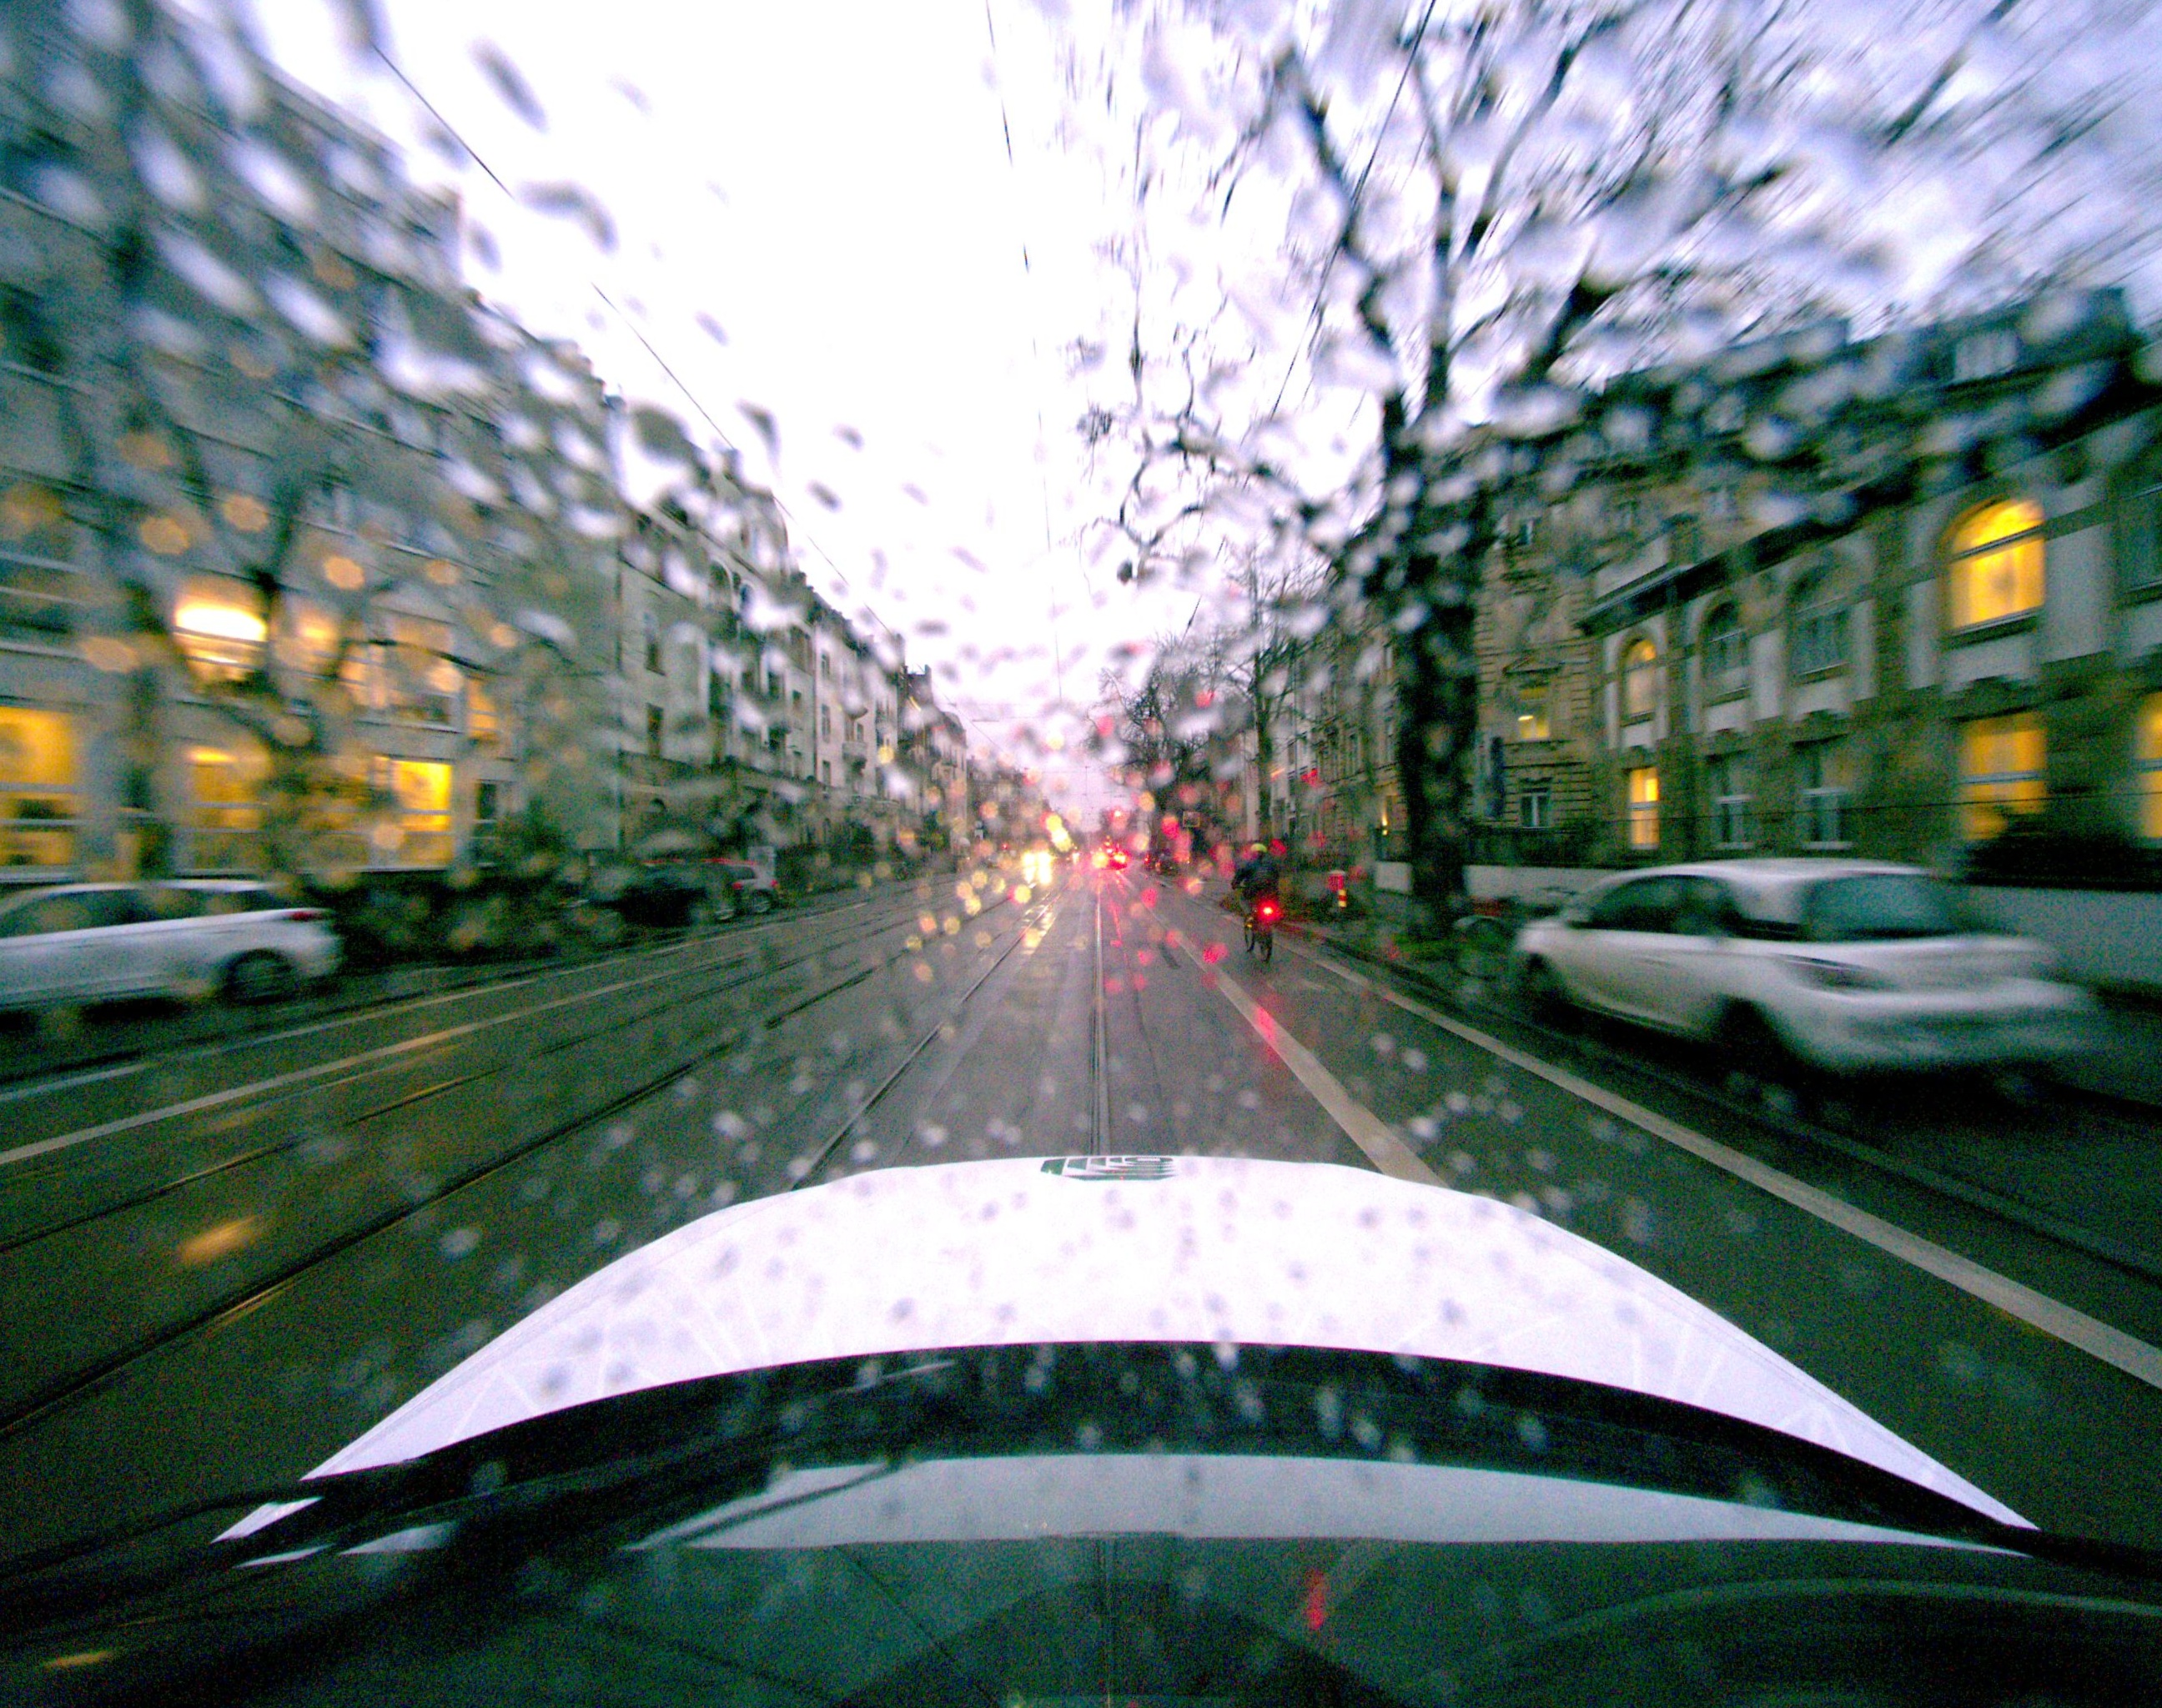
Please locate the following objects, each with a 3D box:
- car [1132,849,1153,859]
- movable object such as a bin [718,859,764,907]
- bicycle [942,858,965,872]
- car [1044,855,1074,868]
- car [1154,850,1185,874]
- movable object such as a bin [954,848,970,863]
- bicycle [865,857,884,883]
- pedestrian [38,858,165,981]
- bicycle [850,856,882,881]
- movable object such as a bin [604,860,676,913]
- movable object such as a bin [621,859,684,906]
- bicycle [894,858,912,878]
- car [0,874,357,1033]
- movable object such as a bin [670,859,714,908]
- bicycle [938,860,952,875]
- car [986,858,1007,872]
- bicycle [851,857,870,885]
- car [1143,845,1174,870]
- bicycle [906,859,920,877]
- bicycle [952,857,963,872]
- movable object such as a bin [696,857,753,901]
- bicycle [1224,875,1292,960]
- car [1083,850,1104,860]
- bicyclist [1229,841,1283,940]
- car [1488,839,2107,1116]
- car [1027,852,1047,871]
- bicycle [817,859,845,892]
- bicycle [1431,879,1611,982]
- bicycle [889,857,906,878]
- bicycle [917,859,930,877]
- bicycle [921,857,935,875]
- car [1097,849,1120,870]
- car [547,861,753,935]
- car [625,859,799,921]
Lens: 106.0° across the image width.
[{"bbox_3d":[12.120,-0.013,161.015,3.962,1.716,1.909,-1,1,10],"label":"car"},{"bbox_3d":[-10.792,0.902,25.917,1.268,1.450,1.104,-2,1,-21],"label":"movable object such as a bin"},{"bbox_3d":[-10.741,0.908,68.717,1.802,1.080,0.615,-2,1,-6],"label":"bicycle"},{"bbox_3d":[-3.036,1.023,112.470,3.971,1.727,1.741,-2,1,2],"label":"car"},{"bbox_3d":[5.979,0.525,55.185,1.672,1.460,4.042,-2,0,0],"label":"car"},{"bbox_3d":[-12.280,0.165,84.312,1.404,1.530,1.365,-2,1,1],"label":"movable object such as a bin"},{"bbox_3d":[-10.111,0.785,39.893,0.692,1.212,1.592,-2,1,-8],"label":"bicycle"},{"bbox_3d":[-14.222,0.917,11.856,0.595,1.676,0.973,-2,1,1],"label":"pedestrian"},{"bbox_3d":[-11.515,0.783,43.598,1.582,1.264,0.490,-2,-4,4],"label":"bicycle"},{"bbox_3d":[-12.955,0.948,23.981,1.256,1.450,1.329,-1,1,8],"label":"movable object such as a bin"},{"bbox_3d":[-14.235,0.932,27.075,1.256,1.450,1.329,-1,1,8],"label":"movable object such as a bin"},{"bbox_3d":[-9.989,0.813,45.776,0.691,1.031,1.594,-2,-3,-4],"label":"bicycle"},{"bbox_3d":[-10.778,1.036,9.115,3.875,1.423,1.715,-3,1,-45],"label":"car"},{"bbox_3d":[-12.131,0.901,25.465,1.093,1.450,1.104,-2,1,-20],"label":"movable object such as a bin"},{"bbox_3d":[-9.612,0.963,57.529,0.623,1.017,1.805,-2,1,0],"label":"bicycle"},{"bbox_3d":[-9.321,1.186,89.902,1.827,1.447,4.001,-2,1,1],"label":"car"},{"bbox_3d":[-10.057,0.759,37.155,0.629,1.212,1.592,-2,1,-8],"label":"bicycle"},{"bbox_3d":[6.306,0.277,66.632,1.987,1.900,5.027,-2,1,0],"label":"car"},{"bbox_3d":[-9.872,0.815,47.917,0.692,1.031,1.592,-2,-1,-8],"label":"bicycle"},{"bbox_3d":[-9.507,0.833,62.878,0.613,1.080,1.809,-2,1,-3],"label":"bicycle"},{"bbox_3d":[-12.398,0.859,28.340,1.256,1.450,1.329,-1,1,8],"label":"movable object such as a bin"},{"bbox_3d":[2.672,0.920,12.487,0.704,1.096,2.031,-2,1,4],"label":"bicycle"},{"bbox_3d":[2.468,0.187,162.026,3.963,1.716,1.908,-1,1,9],"label":"car"},{"bbox_3d":[2.651,0.529,12.375,0.653,1.446,0.850,-2,1,3],"label":"bicyclist"},{"bbox_3d":[4.973,0.671,6.427,1.686,1.519,3.637,-2,1,0],"label":"car"},{"bbox_3d":[-4.674,0.755,87.327,2.041,1.922,5.096,-2,1,-2],"label":"car"},{"bbox_3d":[-10.004,0.846,32.658,0.691,1.212,1.594,-2,1,-4],"label":"bicycle"},{"bbox_3d":[5.029,0.857,9.374,1.707,1.071,0.663,-2,1,0],"label":"bicycle"},{"bbox_3d":[-9.906,0.745,43.916,0.691,1.031,1.591,-2,-3,-6],"label":"bicycle"},{"bbox_3d":[-9.777,0.866,50.581,0.692,1.031,1.592,-2,0,-8],"label":"bicycle"},{"bbox_3d":[-9.838,0.759,52.472,0.485,1.099,1.930,-2,0,0],"label":"bicycle"},{"bbox_3d":[2.489,0.490,74.452,1.987,1.897,4.758,0,-1,0],"label":"car"},{"bbox_3d":[-10.312,0.972,19.672,4.023,1.470,1.809,-2,1,-44],"label":"car"},{"bbox_3d":[-10.186,0.929,22.668,4.022,1.428,1.826,-2,1,-42],"label":"car"}]
